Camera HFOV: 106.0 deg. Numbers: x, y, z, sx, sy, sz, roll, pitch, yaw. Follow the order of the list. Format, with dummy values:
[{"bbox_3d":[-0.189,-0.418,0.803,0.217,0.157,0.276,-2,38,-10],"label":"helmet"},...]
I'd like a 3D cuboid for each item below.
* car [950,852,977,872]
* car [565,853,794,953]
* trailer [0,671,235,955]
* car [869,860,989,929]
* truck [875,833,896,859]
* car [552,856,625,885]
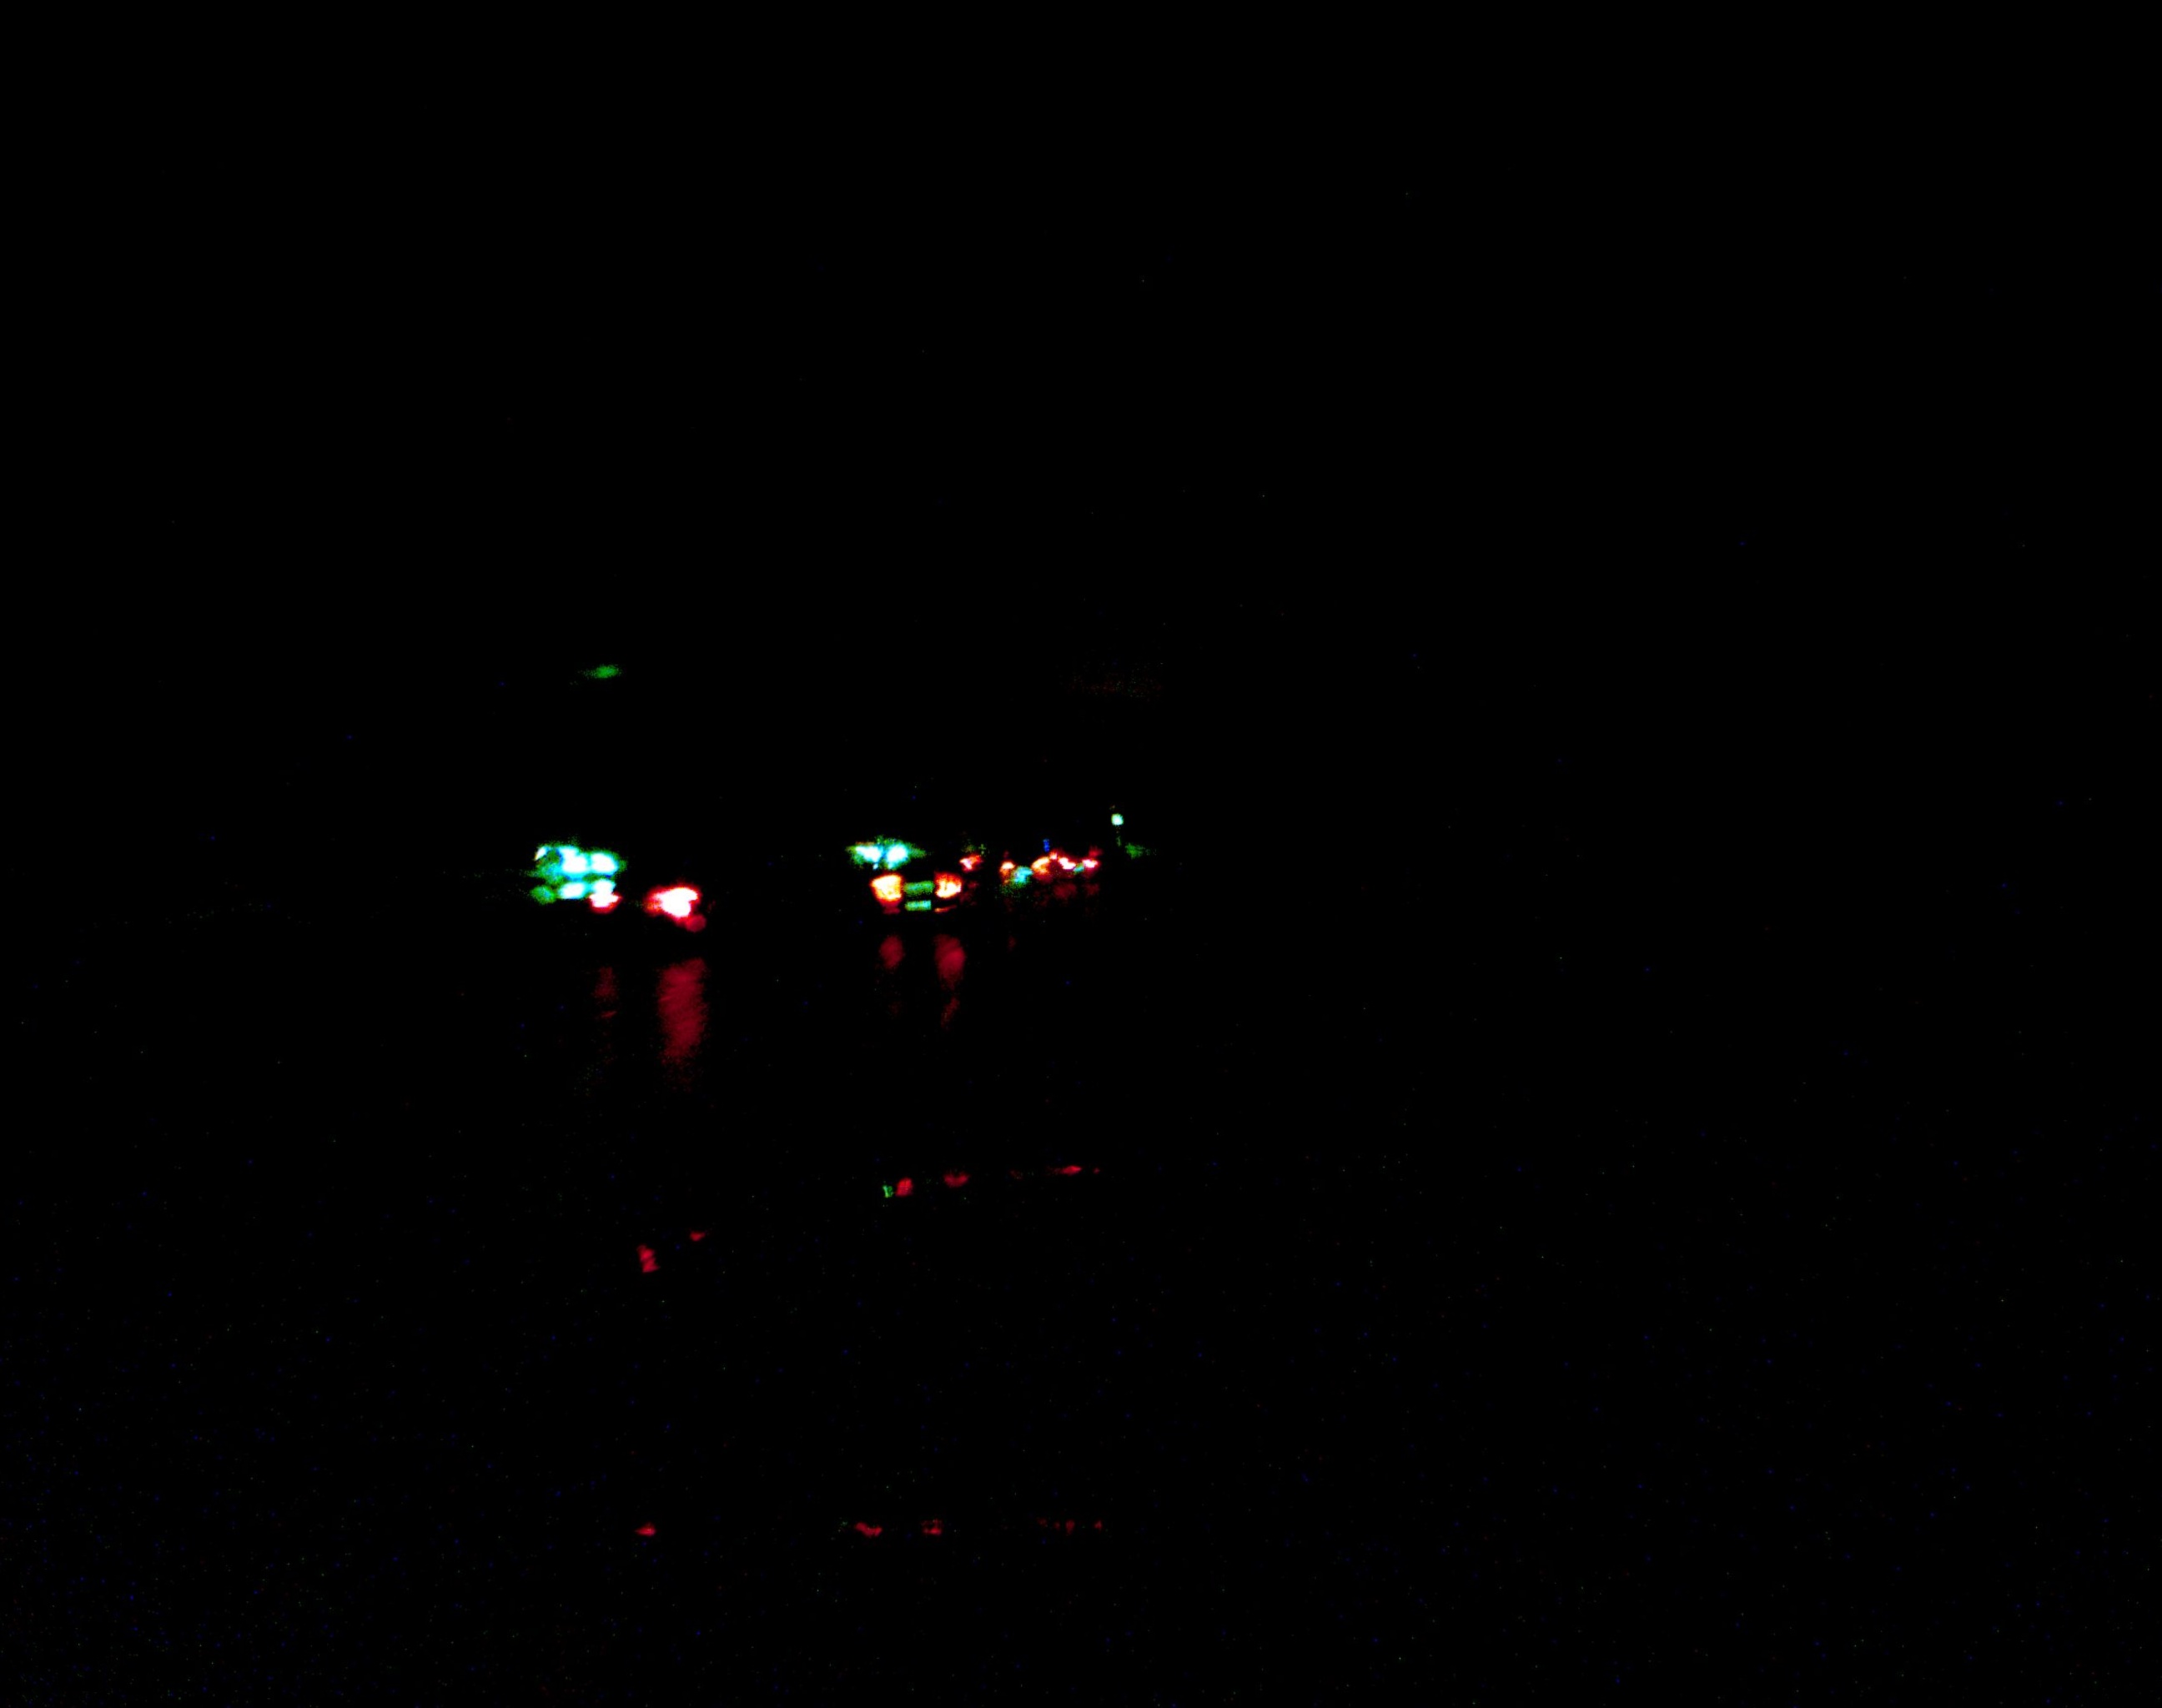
[{"bbox_3d":[-9.277,0.621,64.513,1.889,1.550,3.993,0,-1,-4],"label":"car"},{"bbox_3d":[-7.011,0.750,14.939,1.762,1.517,4.914,0,0,0],"label":"car"},{"bbox_3d":[-18.234,-0.677,10.032,2.567,4.457,12.488,1,-1,-1],"label":"trailer"},{"bbox_3d":[-3.307,0.844,18.531,1.956,1.380,4.048,0,-1,0],"label":"car"},{"bbox_3d":[-26.945,-1.116,112.557,2.605,3.457,4.624,0,-1,-11],"label":"truck"},{"bbox_3d":[-29.074,0.944,48.239,1.893,1.643,4.191,0,-1,-3],"label":"car"}]
